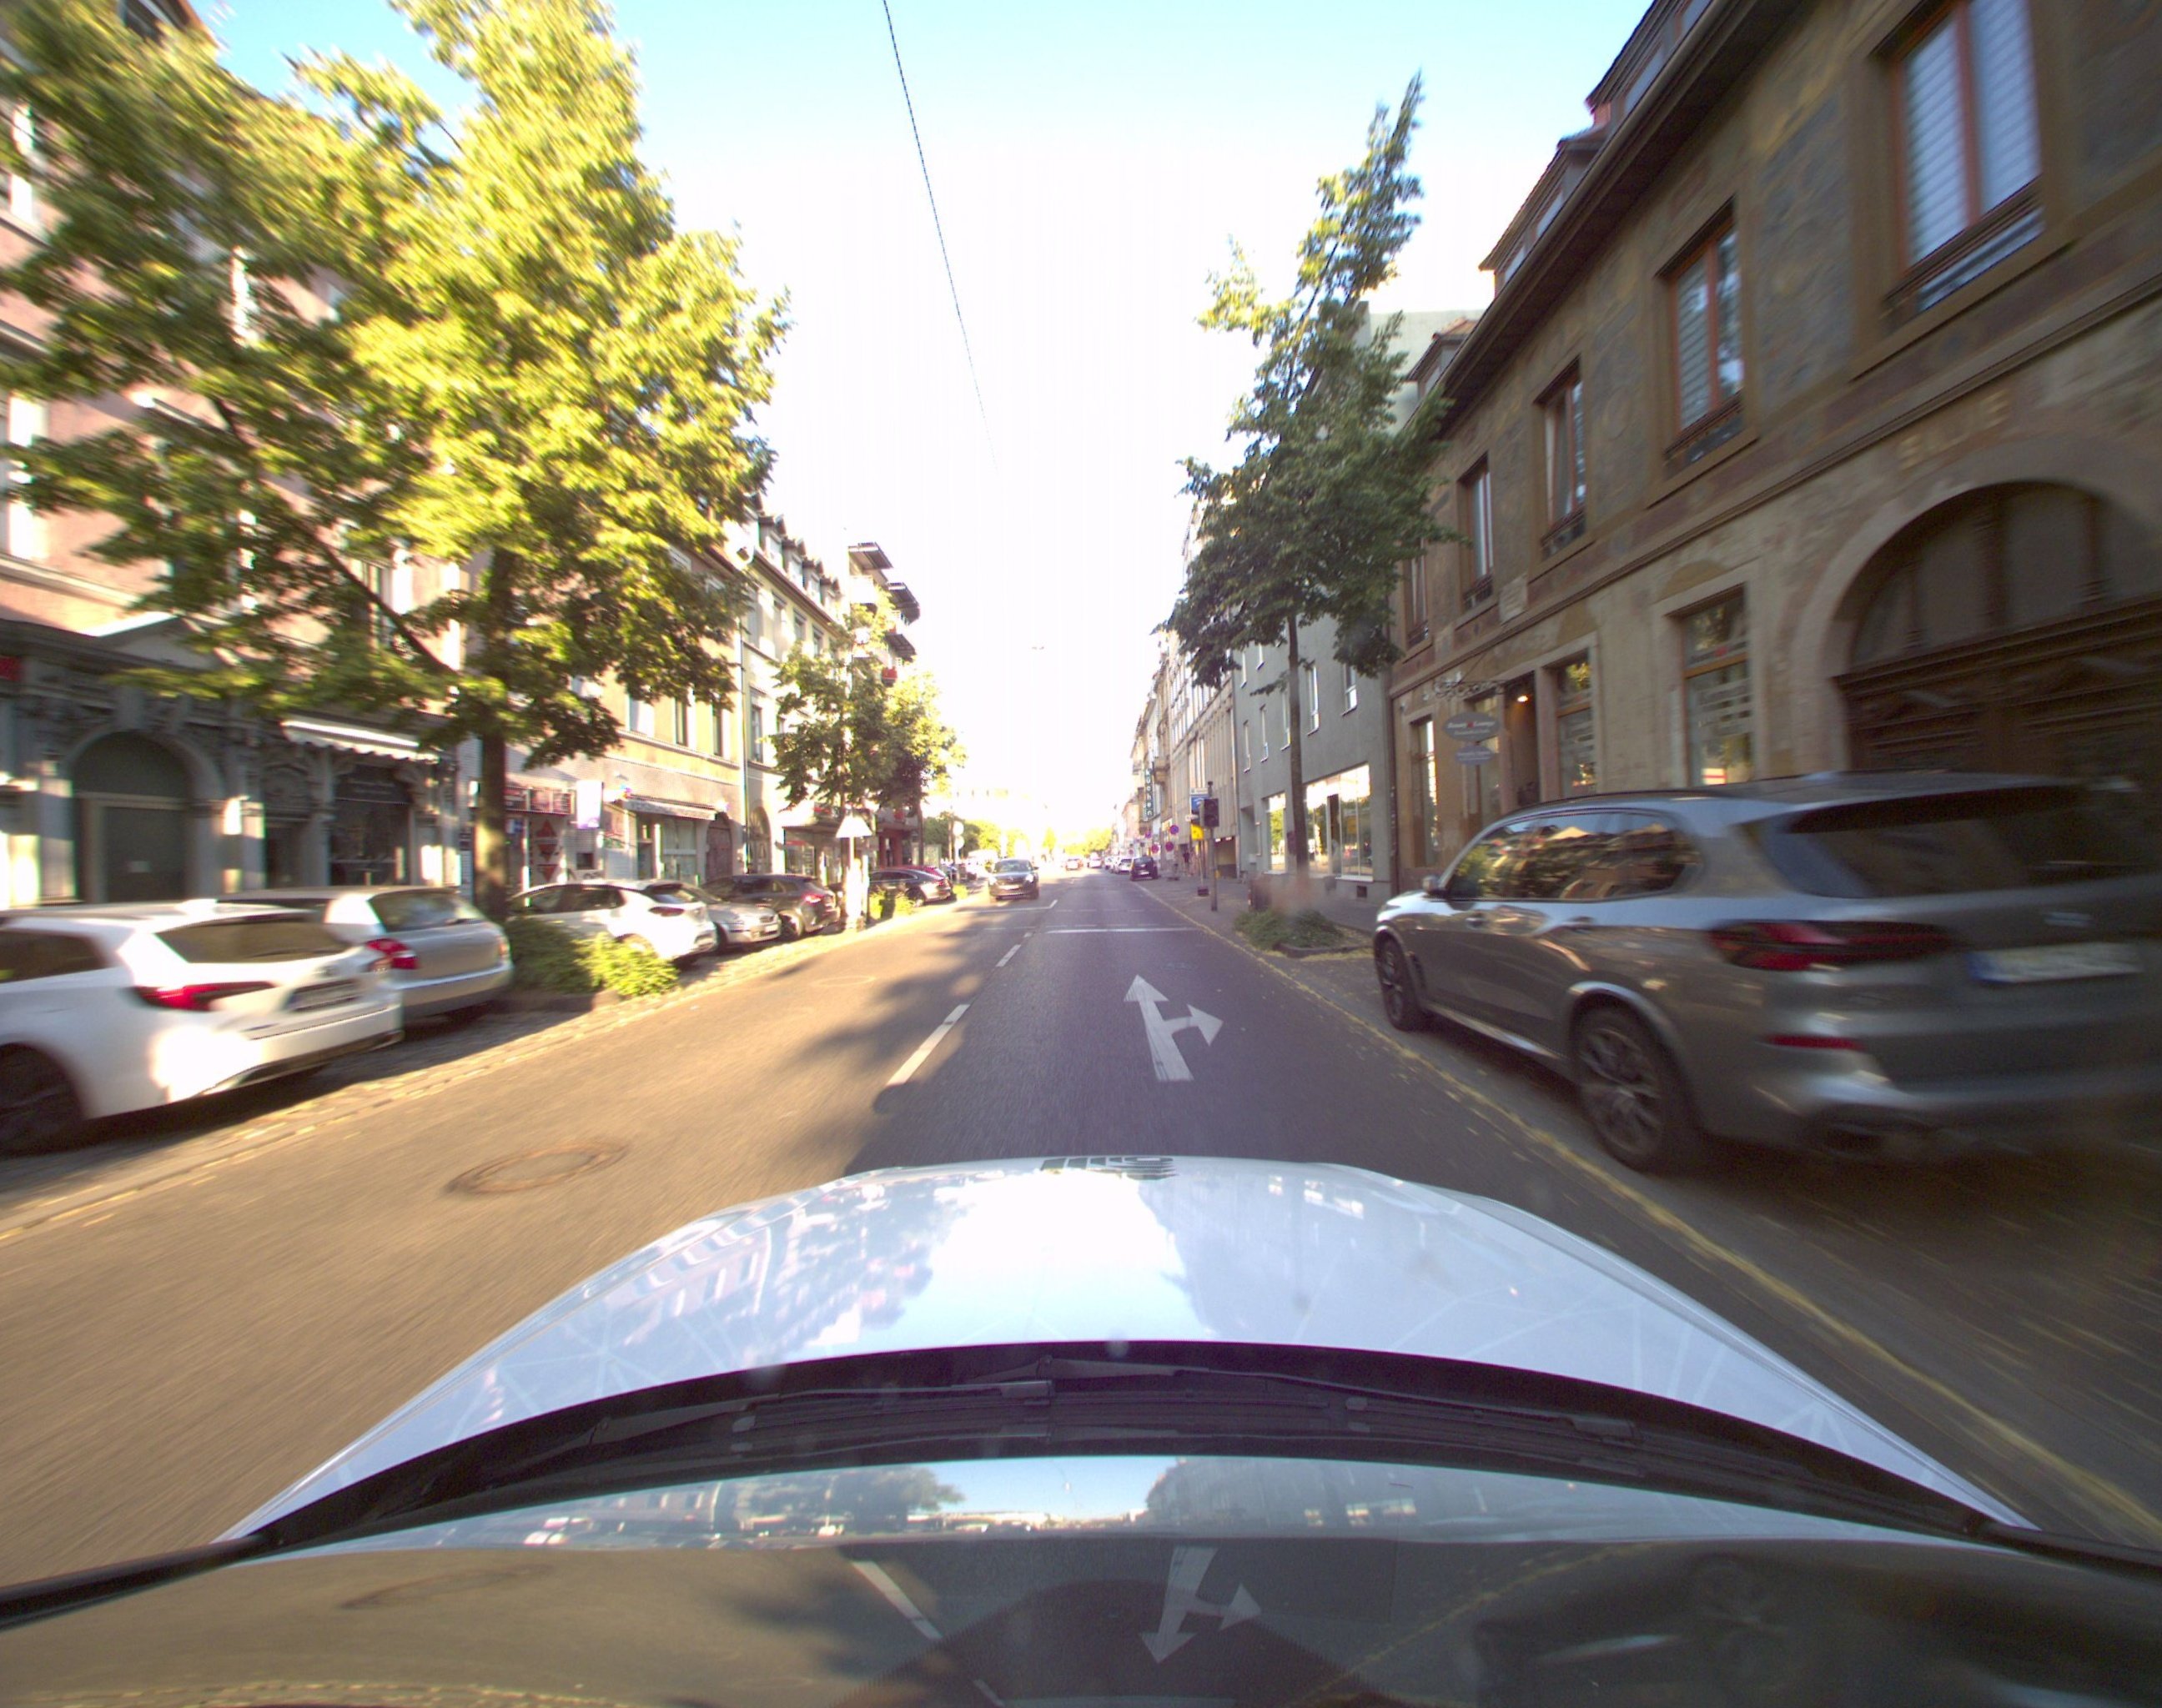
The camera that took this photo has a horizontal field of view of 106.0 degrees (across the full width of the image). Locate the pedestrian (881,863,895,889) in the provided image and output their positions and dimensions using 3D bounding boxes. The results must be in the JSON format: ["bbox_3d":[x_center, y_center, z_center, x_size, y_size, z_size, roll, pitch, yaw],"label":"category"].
[{"bbox_3d":[-12.288,1.404,51.851,0.594,1.595,0.702,-3,-2,2],"label":"pedestrian"}]

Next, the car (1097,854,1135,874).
[{"bbox_3d":[3.387,1.015,79.166,2.001,1.761,4.433,-2,-1,-22],"label":"car"}]

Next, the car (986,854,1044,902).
[{"bbox_3d":[-2.583,0.906,32.697,1.855,1.692,4.460,-2,0,0],"label":"car"}]

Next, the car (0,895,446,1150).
[{"bbox_3d":[-7.273,1.081,5.724,4.138,1.421,1.765,-1,-1,-2],"label":"car"}]

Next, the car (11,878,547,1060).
[{"bbox_3d":[-7.662,1.038,8.075,3.546,1.502,1.715,-1,-1,-1],"label":"car"}]

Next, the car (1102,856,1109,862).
[{"bbox_3d":[6.660,1.408,223.630,1.890,1.581,3.851,-2,0,0],"label":"car"}]

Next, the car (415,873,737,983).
[{"bbox_3d":[-7.508,1.058,12.416,3.729,1.444,1.804,-1,-1,-2],"label":"car"}]

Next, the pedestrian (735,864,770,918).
[{"bbox_3d":[-10.589,1.193,26.290,0.769,1.721,0.876,-1,-2,1],"label":"pedestrian"}]

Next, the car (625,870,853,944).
[{"bbox_3d":[-7.265,1.099,17.631,4.096,1.403,1.883,-1,0,-2],"label":"car"}]

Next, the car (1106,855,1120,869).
[{"bbox_3d":[4.146,1.031,105.396,1.724,1.651,4.284,-1,-1,0],"label":"car"}]

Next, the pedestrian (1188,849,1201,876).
[{"bbox_3d":[7.010,0.511,50.142,0.603,1.599,0.773,-2,-1,-3],"label":"pedestrian"}]

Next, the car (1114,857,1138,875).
[{"bbox_3d":[3.918,1.068,71.354,1.754,1.537,4.818,0,-1,-1],"label":"car"}]

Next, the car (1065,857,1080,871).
[{"bbox_3d":[-1.073,1.292,104.275,1.890,1.649,4.104,-2,-1,0],"label":"car"}]

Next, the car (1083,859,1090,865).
[{"bbox_3d":[1.471,2.228,227.911,1.774,1.547,3.999,-2,0,0],"label":"car"}]

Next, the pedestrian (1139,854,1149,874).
[{"bbox_3d":[6.058,0.964,78.274,0.770,1.827,1.010,-4,-1,0],"label":"pedestrian"}]

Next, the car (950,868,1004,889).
[{"bbox_3d":[-8.115,1.928,63.884,3.978,1.581,1.901,-1,-1,-3],"label":"car"}]

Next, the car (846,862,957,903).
[{"bbox_3d":[-7.272,1.143,33.298,4.059,1.536,1.884,-1,0,0],"label":"car"}]

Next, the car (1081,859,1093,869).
[{"bbox_3d":[1.030,1.678,132.941,1.890,1.581,3.851,1,-1,0],"label":"car"}]

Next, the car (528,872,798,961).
[{"bbox_3d":[-7.712,1.125,15.306,4.081,1.403,1.844,-2,0,2],"label":"car"}]

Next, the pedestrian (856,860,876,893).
[{"bbox_3d":[-10.786,1.137,40.862,0.769,1.608,0.876,-1,-2,1],"label":"pedestrian"}]

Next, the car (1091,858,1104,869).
[{"bbox_3d":[2.394,1.339,119.836,1.890,1.581,3.999,-1,-1,0],"label":"car"}]

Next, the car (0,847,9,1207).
[{"bbox_3d":[-7.377,0.883,3.019,4.138,1.773,1.888,-1,-1,-2],"label":"car"}]

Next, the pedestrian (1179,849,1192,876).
[{"bbox_3d":[6.387,0.505,49.832,0.603,1.599,0.773,-2,-1,-3],"label":"pedestrian"}]

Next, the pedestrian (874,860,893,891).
[{"bbox_3d":[-9.964,1.103,41.147,0.731,1.528,0.876,-1,-2,1],"label":"pedestrian"}]

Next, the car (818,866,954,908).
[{"bbox_3d":[-7.138,1.193,30.173,4.557,1.407,1.821,-1,0,-1],"label":"car"}]

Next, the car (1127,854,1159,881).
[{"bbox_3d":[3.981,0.833,52.844,1.752,1.536,4.001,-5,0,2],"label":"car"}]

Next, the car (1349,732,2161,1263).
[{"bbox_3d":[3.490,0.475,5.168,2.031,1.737,4.712,-4,0,1],"label":"car"}]
